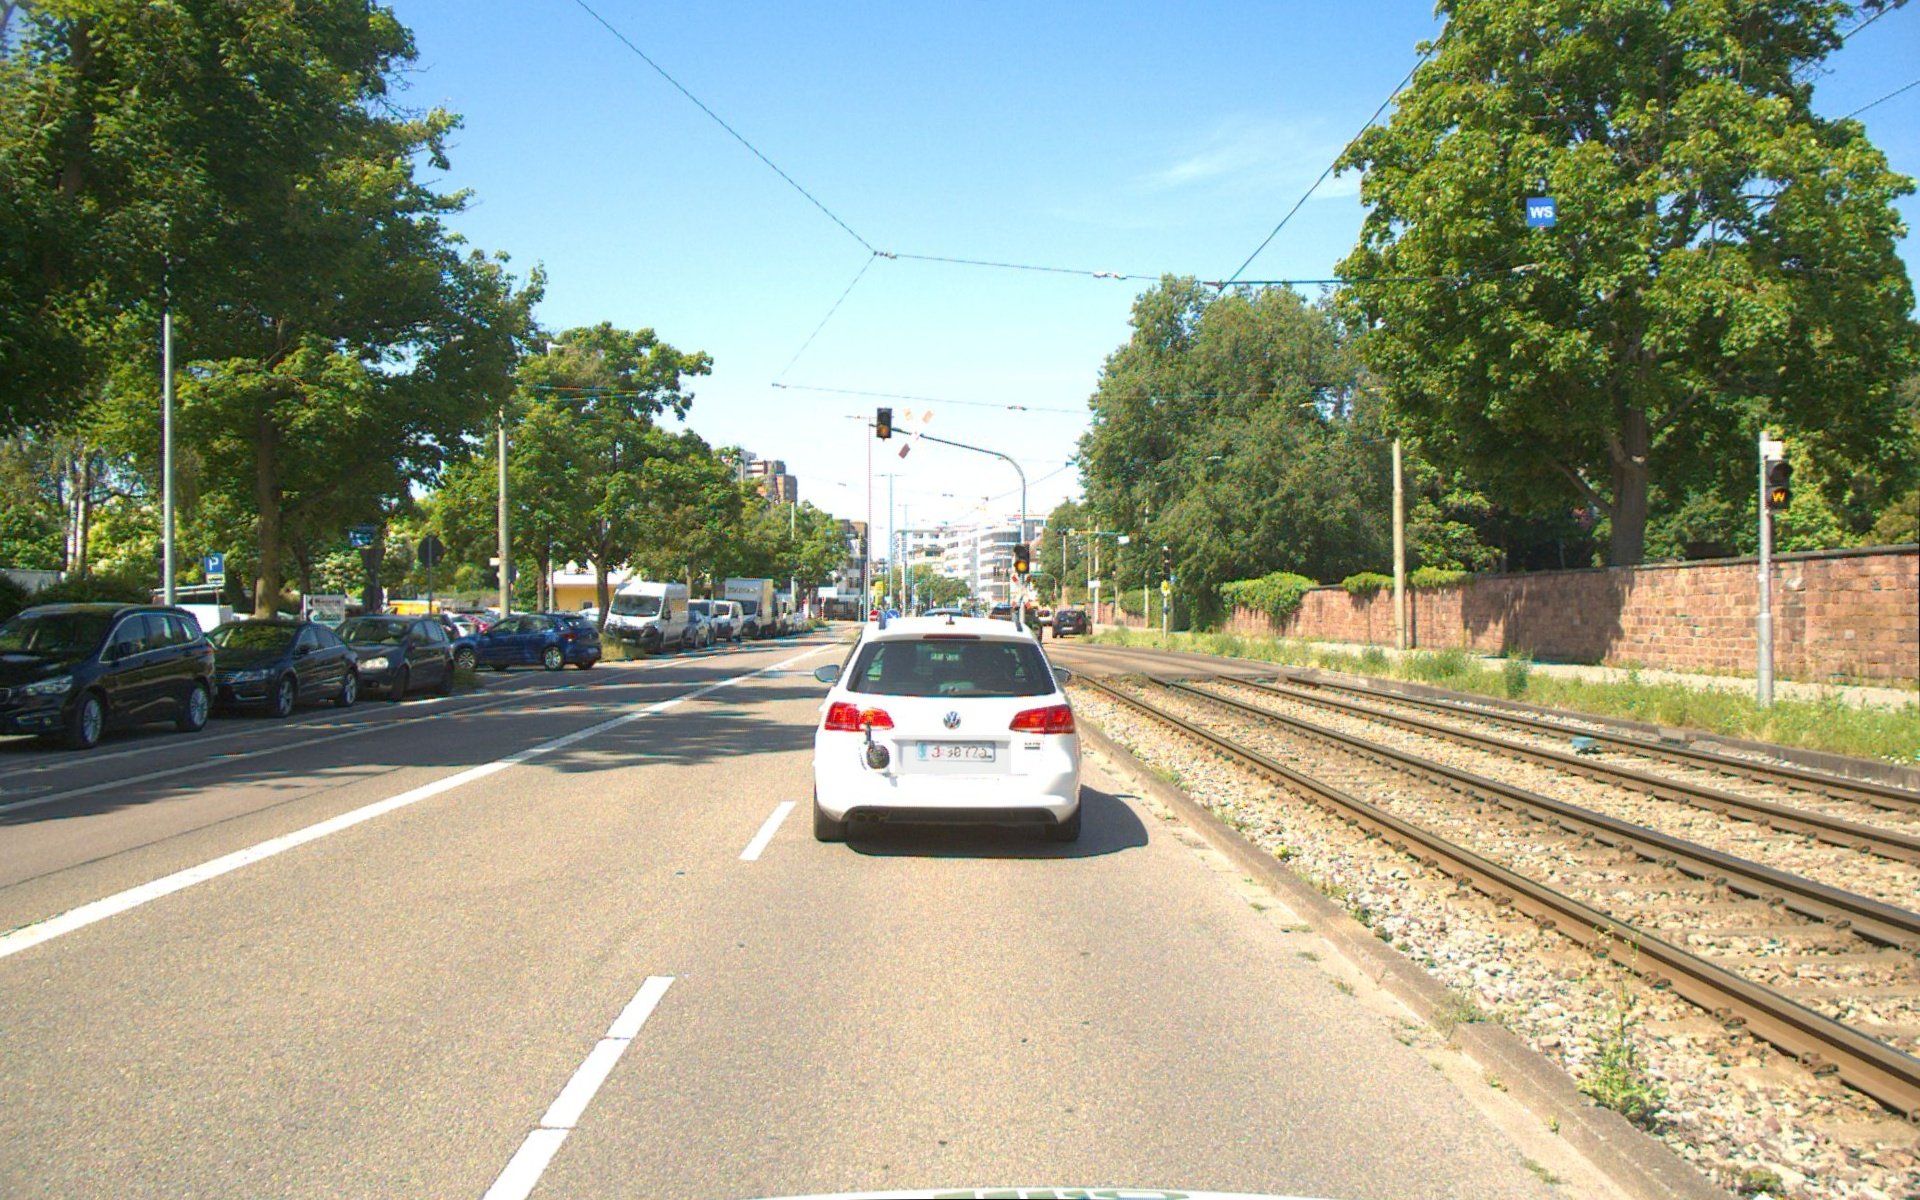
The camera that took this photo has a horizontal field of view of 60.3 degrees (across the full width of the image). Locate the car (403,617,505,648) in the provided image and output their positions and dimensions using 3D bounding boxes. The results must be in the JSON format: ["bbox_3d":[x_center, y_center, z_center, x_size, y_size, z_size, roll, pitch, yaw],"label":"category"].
[{"bbox_3d":[-22.127,1.395,72.376,3.904,1.286,1.772,-1,0,2],"label":"car"}]

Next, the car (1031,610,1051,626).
[{"bbox_3d":[7.292,1.635,149.064,1.549,1.370,3.453,2,-1,-1],"label":"car"}]

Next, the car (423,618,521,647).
[{"bbox_3d":[-22.050,1.446,74.802,3.904,1.246,1.772,-1,0,2],"label":"car"}]

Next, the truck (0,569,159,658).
[{"bbox_3d":[-34.021,0.465,61.729,6.999,3.071,2.230,2,-1,-3],"label":"truck"}]

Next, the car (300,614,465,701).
[{"bbox_3d":[-10.652,1.017,30.771,1.608,1.476,4.004,2,-1,0],"label":"car"}]

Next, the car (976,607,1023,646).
[{"bbox_3d":[1.682,1.086,69.159,1.822,1.539,3.914,2,0,3],"label":"car"}]

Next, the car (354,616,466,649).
[{"bbox_3d":[-22.284,1.312,67.081,3.904,1.246,1.772,-1,0,2],"label":"car"}]

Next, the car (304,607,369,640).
[{"bbox_3d":[-37.546,1.423,99.610,3.354,1.909,1.551,-1,0,-3],"label":"car"}]

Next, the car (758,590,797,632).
[{"bbox_3d":[-11.493,0.689,104.240,1.806,2.538,5.855,-1,0,0],"label":"car"}]

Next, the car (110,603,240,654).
[{"bbox_3d":[-34.081,1.250,71.876,4.602,2.049,1.997,2,-1,-6],"label":"car"}]

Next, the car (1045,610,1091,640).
[{"bbox_3d":[5.567,1.269,84.831,1.708,1.432,3.916,2,0,12],"label":"car"}]

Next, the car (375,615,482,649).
[{"bbox_3d":[-22.381,1.346,69.762,3.904,1.374,1.772,-1,0,2],"label":"car"}]

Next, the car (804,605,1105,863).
[{"bbox_3d":[-0.084,0.796,11.669,1.732,1.471,3.911,2,0,-2],"label":"car"}]

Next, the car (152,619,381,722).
[{"bbox_3d":[-10.698,1.030,25.910,1.656,1.404,4.781,0,0,-1],"label":"car"}]

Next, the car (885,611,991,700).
[{"bbox_3d":[-0.400,0.936,29.295,1.710,1.412,3.912,1,0,-1],"label":"car"}]

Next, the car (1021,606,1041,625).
[{"bbox_3d":[7.027,1.566,163.825,1.657,1.844,3.453,2,-1,-1],"label":"car"}]

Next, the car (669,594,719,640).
[{"bbox_3d":[-11.935,0.756,74.510,1.807,1.971,5.188,-1,0,-5],"label":"car"}]

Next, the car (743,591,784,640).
[{"bbox_3d":[-11.378,0.892,96.180,1.806,2.715,5.002,-1,0,0],"label":"car"}]

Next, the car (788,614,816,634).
[{"bbox_3d":[-11.885,1.770,124.641,1.744,1.458,4.037,-1,0,-1],"label":"car"}]

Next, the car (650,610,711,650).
[{"bbox_3d":[-11.274,1.174,66.940,1.806,1.543,4.196,-1,0,-1],"label":"car"}]

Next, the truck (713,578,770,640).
[{"bbox_3d":[-11.646,0.488,88.744,2.309,3.177,6.889,-1,0,-2],"label":"truck"}]

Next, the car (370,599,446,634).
[{"bbox_3d":[-34.915,1.047,104.746,4.175,2.049,1.997,2,-1,-7],"label":"car"}]

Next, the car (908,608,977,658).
[{"bbox_3d":[-0.500,0.988,51.323,1.822,1.441,4.326,2,0,3],"label":"car"}]

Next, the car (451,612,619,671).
[{"bbox_3d":[-10.899,1.071,42.473,3.818,1.432,1.752,-1,0,18],"label":"car"}]

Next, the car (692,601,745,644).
[{"bbox_3d":[-11.668,1.078,80.157,1.806,1.995,5.133,-1,0,0],"label":"car"}]

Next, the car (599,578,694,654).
[{"bbox_3d":[-11.398,0.560,60.578,2.016,2.544,6.308,2,0,2],"label":"car"}]

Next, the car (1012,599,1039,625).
[{"bbox_3d":[6.787,1.279,171.725,2.413,2.543,5.908,2,-1,-1],"label":"car"}]

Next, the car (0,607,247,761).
[{"bbox_3d":[-10.574,0.912,20.138,1.726,1.634,4.892,0,0,-1],"label":"car"}]
